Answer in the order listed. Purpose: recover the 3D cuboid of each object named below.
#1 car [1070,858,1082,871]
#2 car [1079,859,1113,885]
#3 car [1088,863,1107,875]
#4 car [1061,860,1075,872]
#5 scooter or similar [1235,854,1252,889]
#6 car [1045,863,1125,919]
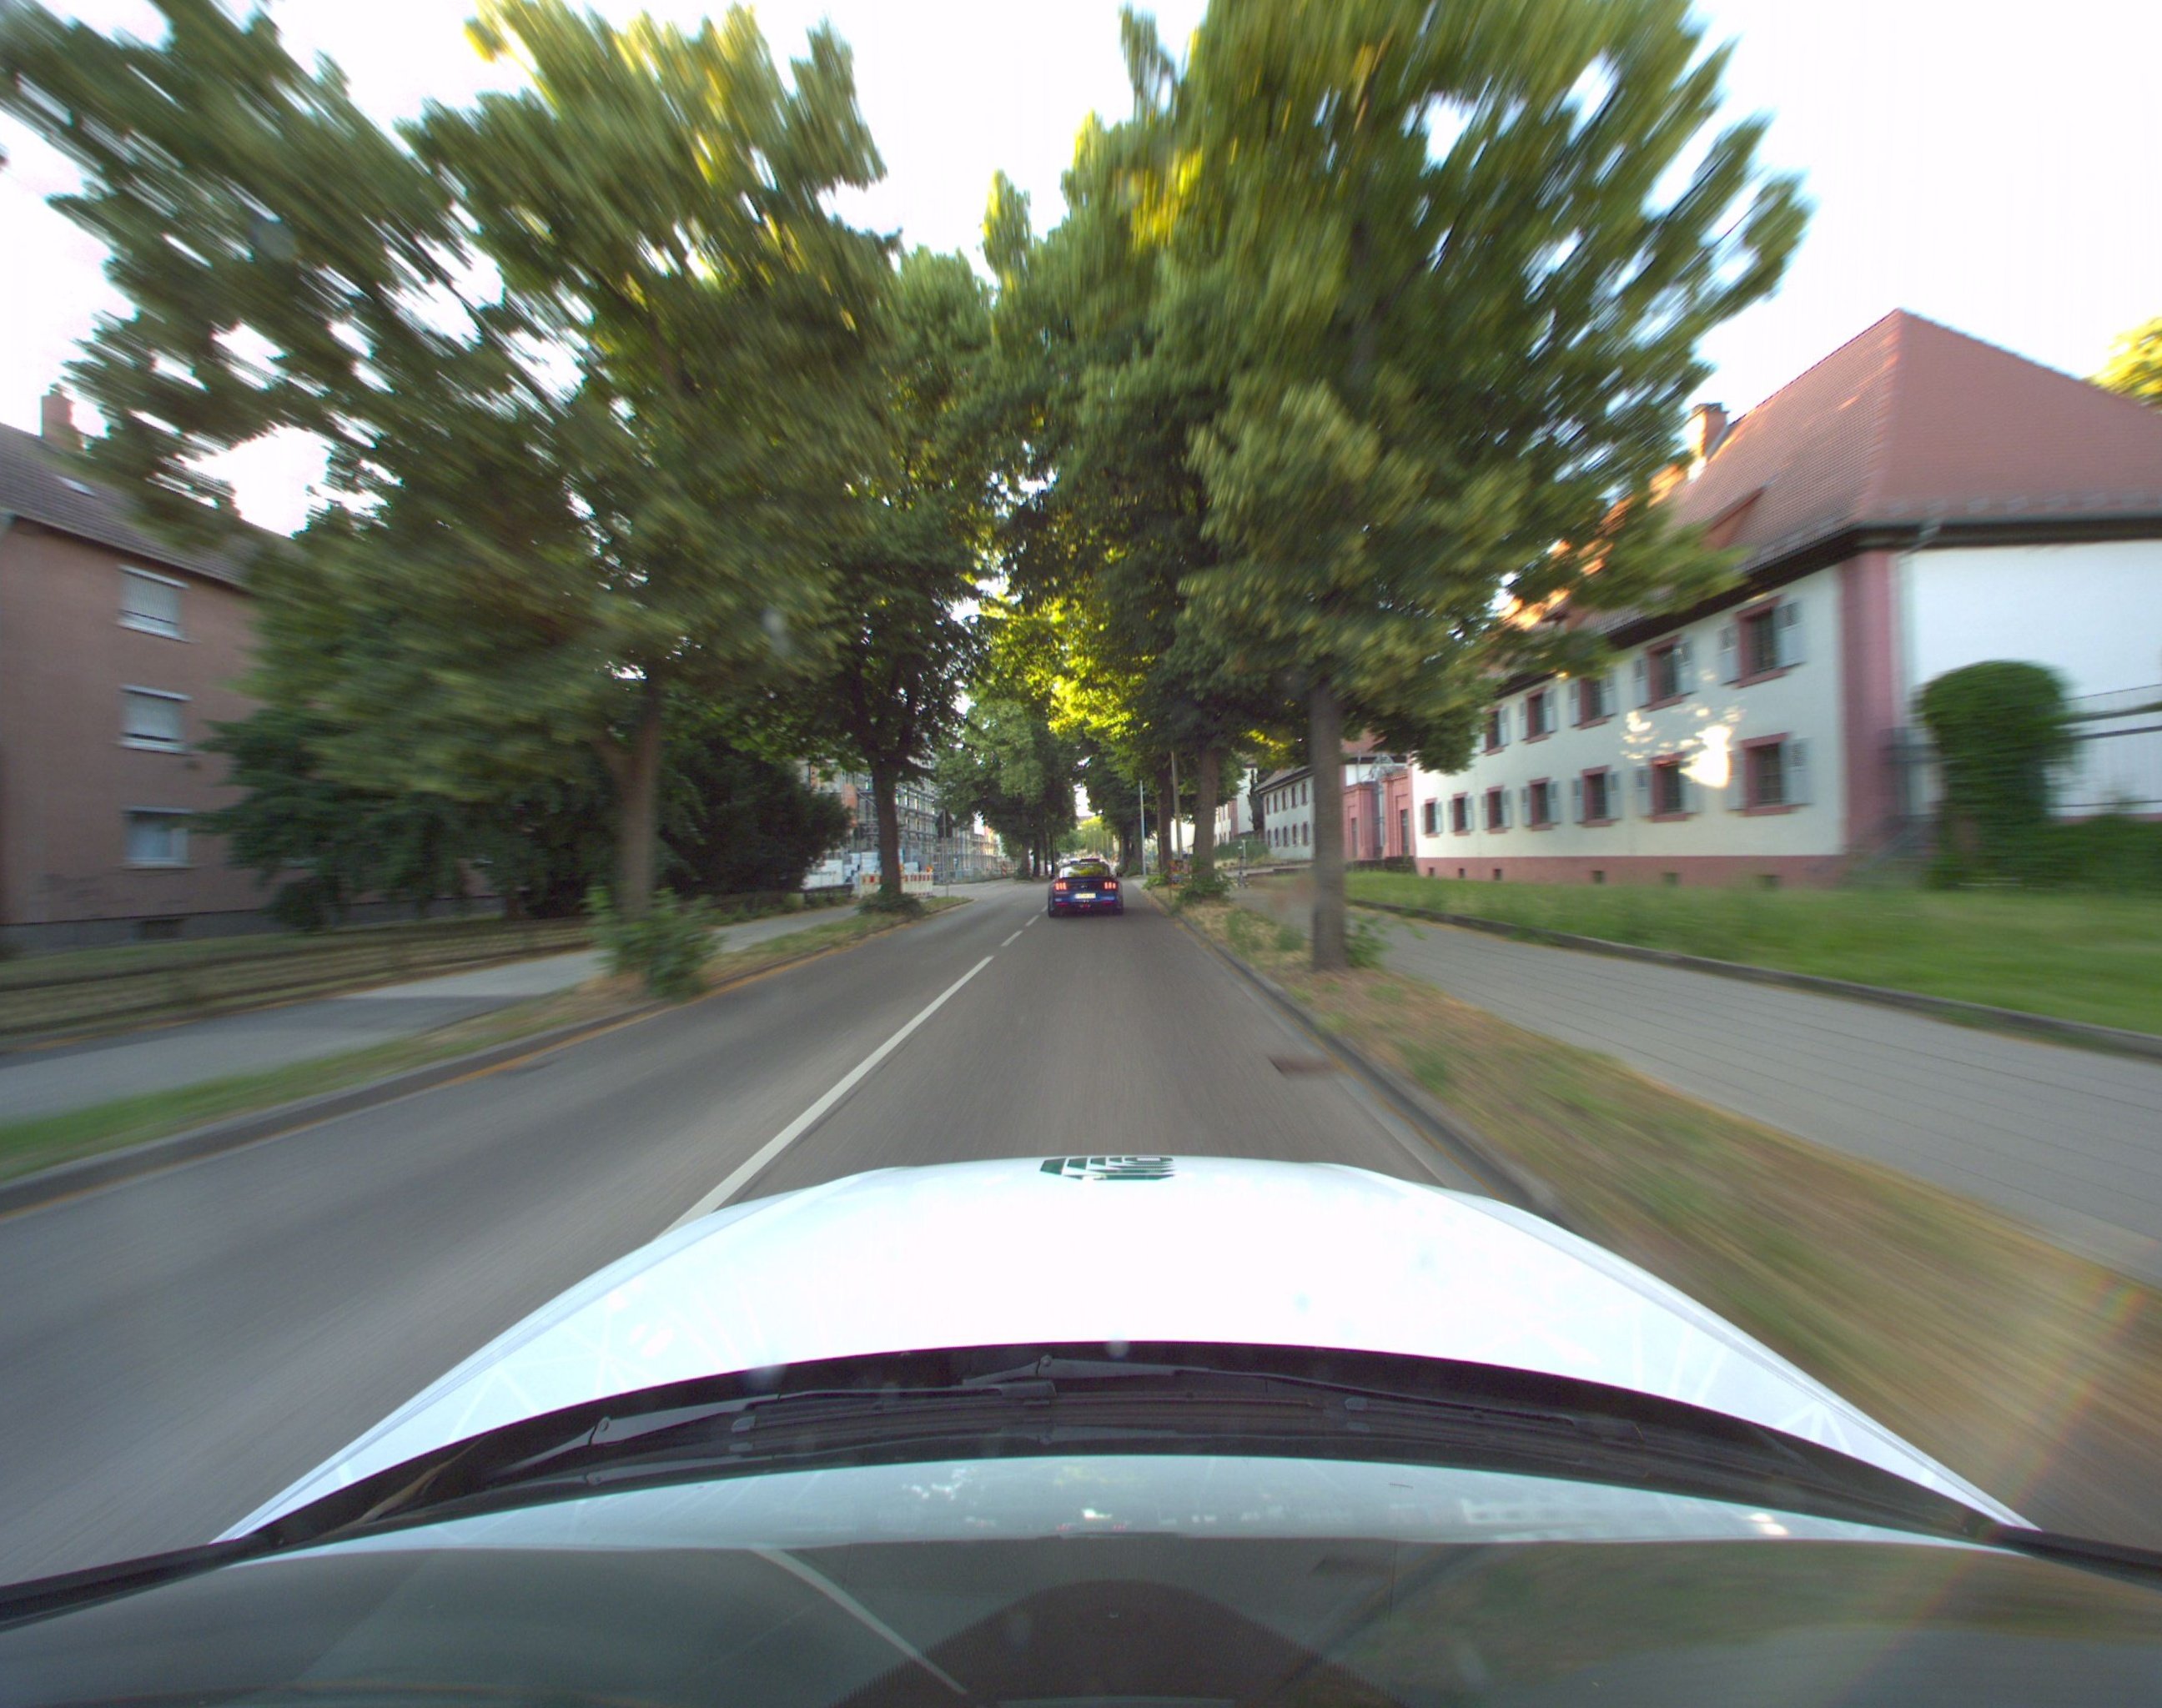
[{"bbox_3d":[-1.019,2.217,175.231,2.484,2.697,5.831,-3,-1,1],"label":"car"},{"bbox_3d":[0.988,1.100,50.358,1.939,1.527,4.003,-1,-1,3],"label":"car"},{"bbox_3d":[1.790,1.607,88.338,1.939,1.326,4.003,-1,-1,3],"label":"car"},{"bbox_3d":[-2.617,2.427,163.689,2.326,2.198,5.312,-2,-1,3],"label":"car"},{"bbox_3d":[6.185,0.670,31.001,0.238,1.276,1.265,-2,-1,-3],"label":"scooter or similar"},{"bbox_3d":[0.143,0.917,21.830,1.940,1.326,4.001,-1,-1,1],"label":"car"}]
